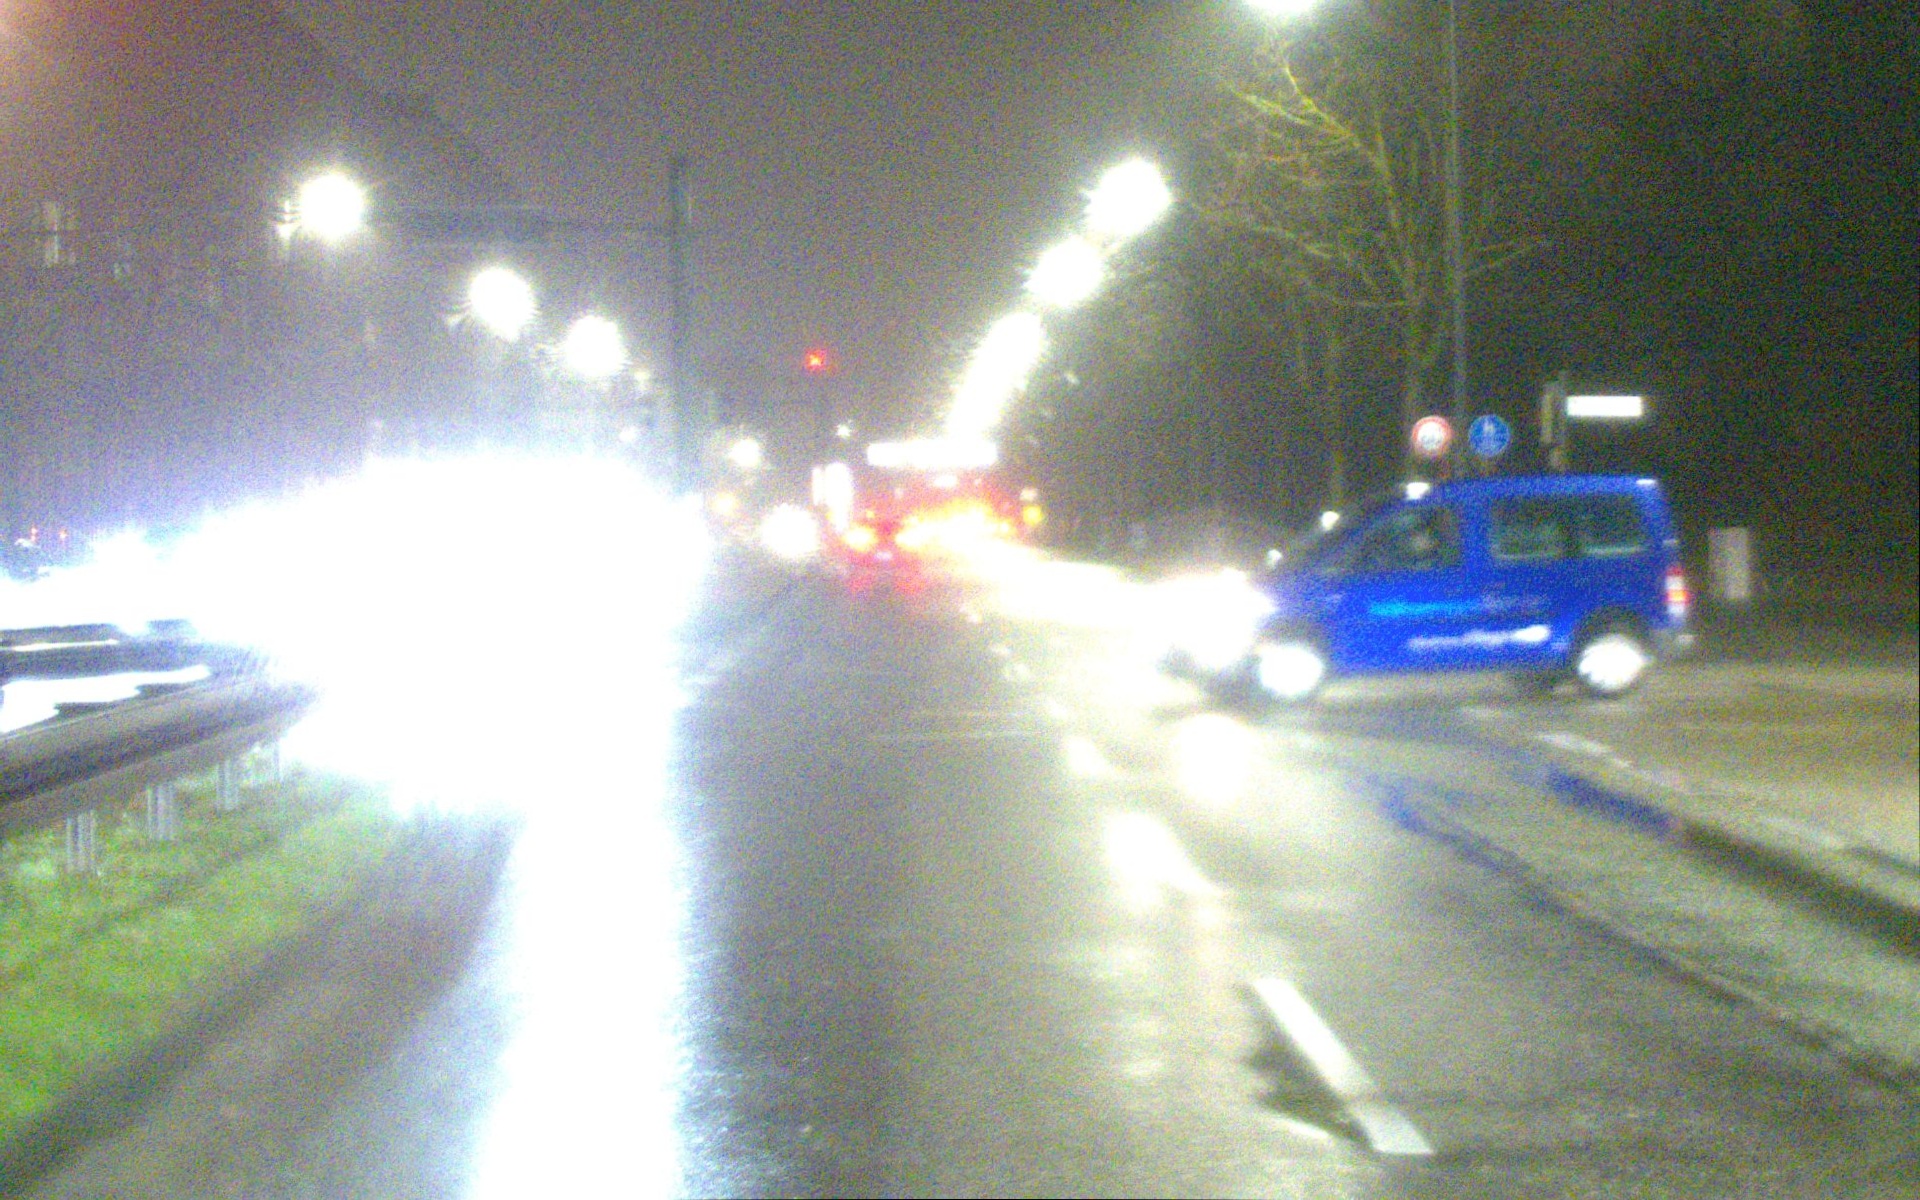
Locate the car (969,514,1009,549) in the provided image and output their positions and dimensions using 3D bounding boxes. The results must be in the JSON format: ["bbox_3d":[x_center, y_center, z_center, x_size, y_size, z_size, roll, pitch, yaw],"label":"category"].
[{"bbox_3d":[1.490,-3.574,178.769,1.993,1.753,4.000,1,1,-1],"label":"car"}]

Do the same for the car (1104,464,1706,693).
[{"bbox_3d":[3.576,-0.167,28.018,4.490,1.743,1.860,1,0,-10],"label":"car"}]

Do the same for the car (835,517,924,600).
[{"bbox_3d":[-2.050,-1.039,86.247,1.993,2.007,4.633,1,1,-4],"label":"car"}]

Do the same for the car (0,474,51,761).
[{"bbox_3d":[-7.740,0.084,20.034,1.908,1.735,4.387,1,1,41],"label":"car"}]
